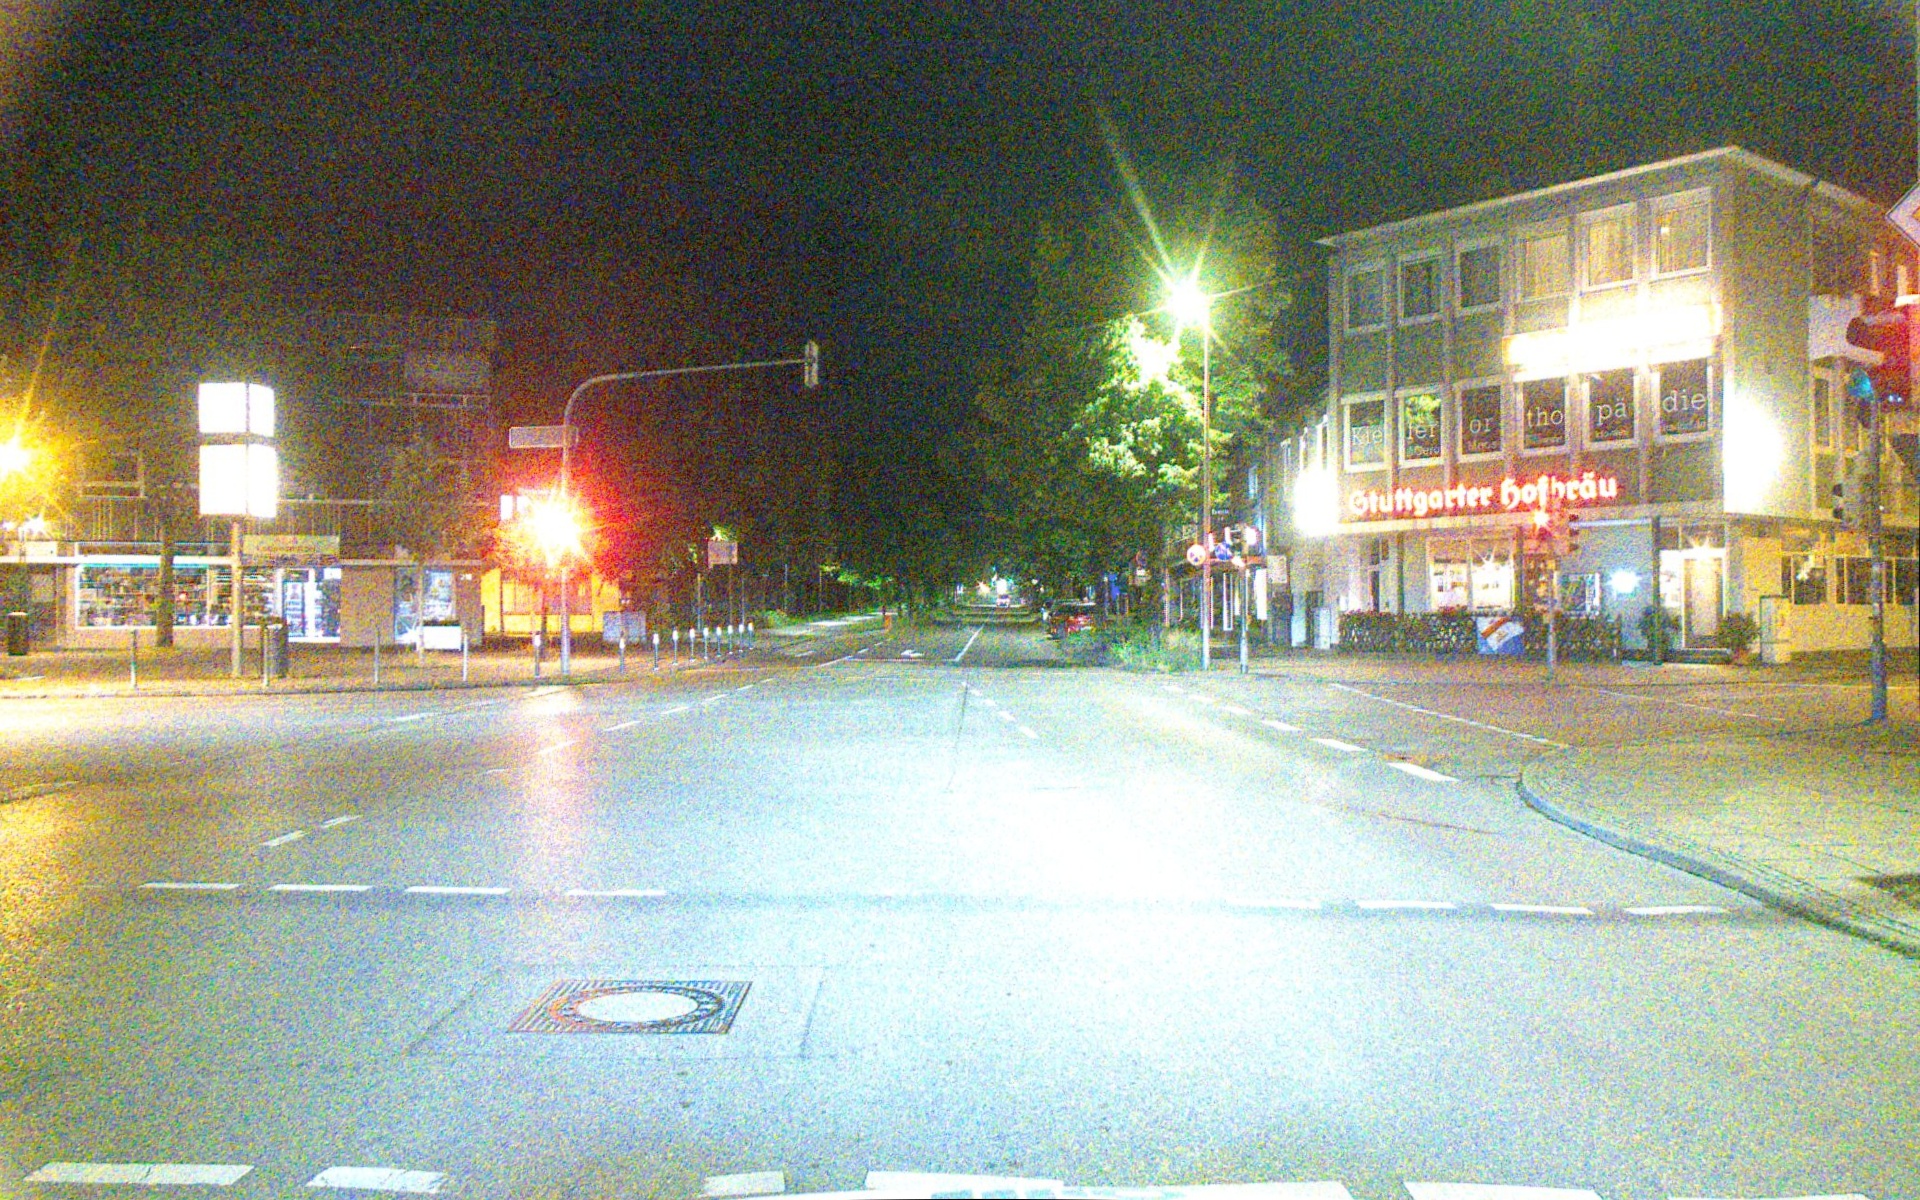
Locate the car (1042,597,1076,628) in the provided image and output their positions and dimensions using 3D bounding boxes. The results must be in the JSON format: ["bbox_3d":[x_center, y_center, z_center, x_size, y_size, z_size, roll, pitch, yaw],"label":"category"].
[{"bbox_3d":[5.659,0.709,94.603,1.837,1.713,4.001,0,0,2],"label":"car"}]

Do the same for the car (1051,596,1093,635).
[{"bbox_3d":[5.155,0.713,76.530,1.837,1.759,4.001,0,0,2],"label":"car"}]

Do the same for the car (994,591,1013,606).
[{"bbox_3d":[5.153,-0.155,196.740,2.181,1.680,4.001,0,0,2],"label":"car"}]

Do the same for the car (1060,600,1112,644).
[{"bbox_3d":[4.811,0.834,63.594,1.837,1.643,4.001,0,0,2],"label":"car"}]

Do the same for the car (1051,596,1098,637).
[{"bbox_3d":[4.730,0.683,68.853,1.837,1.643,4.001,0,0,2],"label":"car"}]
